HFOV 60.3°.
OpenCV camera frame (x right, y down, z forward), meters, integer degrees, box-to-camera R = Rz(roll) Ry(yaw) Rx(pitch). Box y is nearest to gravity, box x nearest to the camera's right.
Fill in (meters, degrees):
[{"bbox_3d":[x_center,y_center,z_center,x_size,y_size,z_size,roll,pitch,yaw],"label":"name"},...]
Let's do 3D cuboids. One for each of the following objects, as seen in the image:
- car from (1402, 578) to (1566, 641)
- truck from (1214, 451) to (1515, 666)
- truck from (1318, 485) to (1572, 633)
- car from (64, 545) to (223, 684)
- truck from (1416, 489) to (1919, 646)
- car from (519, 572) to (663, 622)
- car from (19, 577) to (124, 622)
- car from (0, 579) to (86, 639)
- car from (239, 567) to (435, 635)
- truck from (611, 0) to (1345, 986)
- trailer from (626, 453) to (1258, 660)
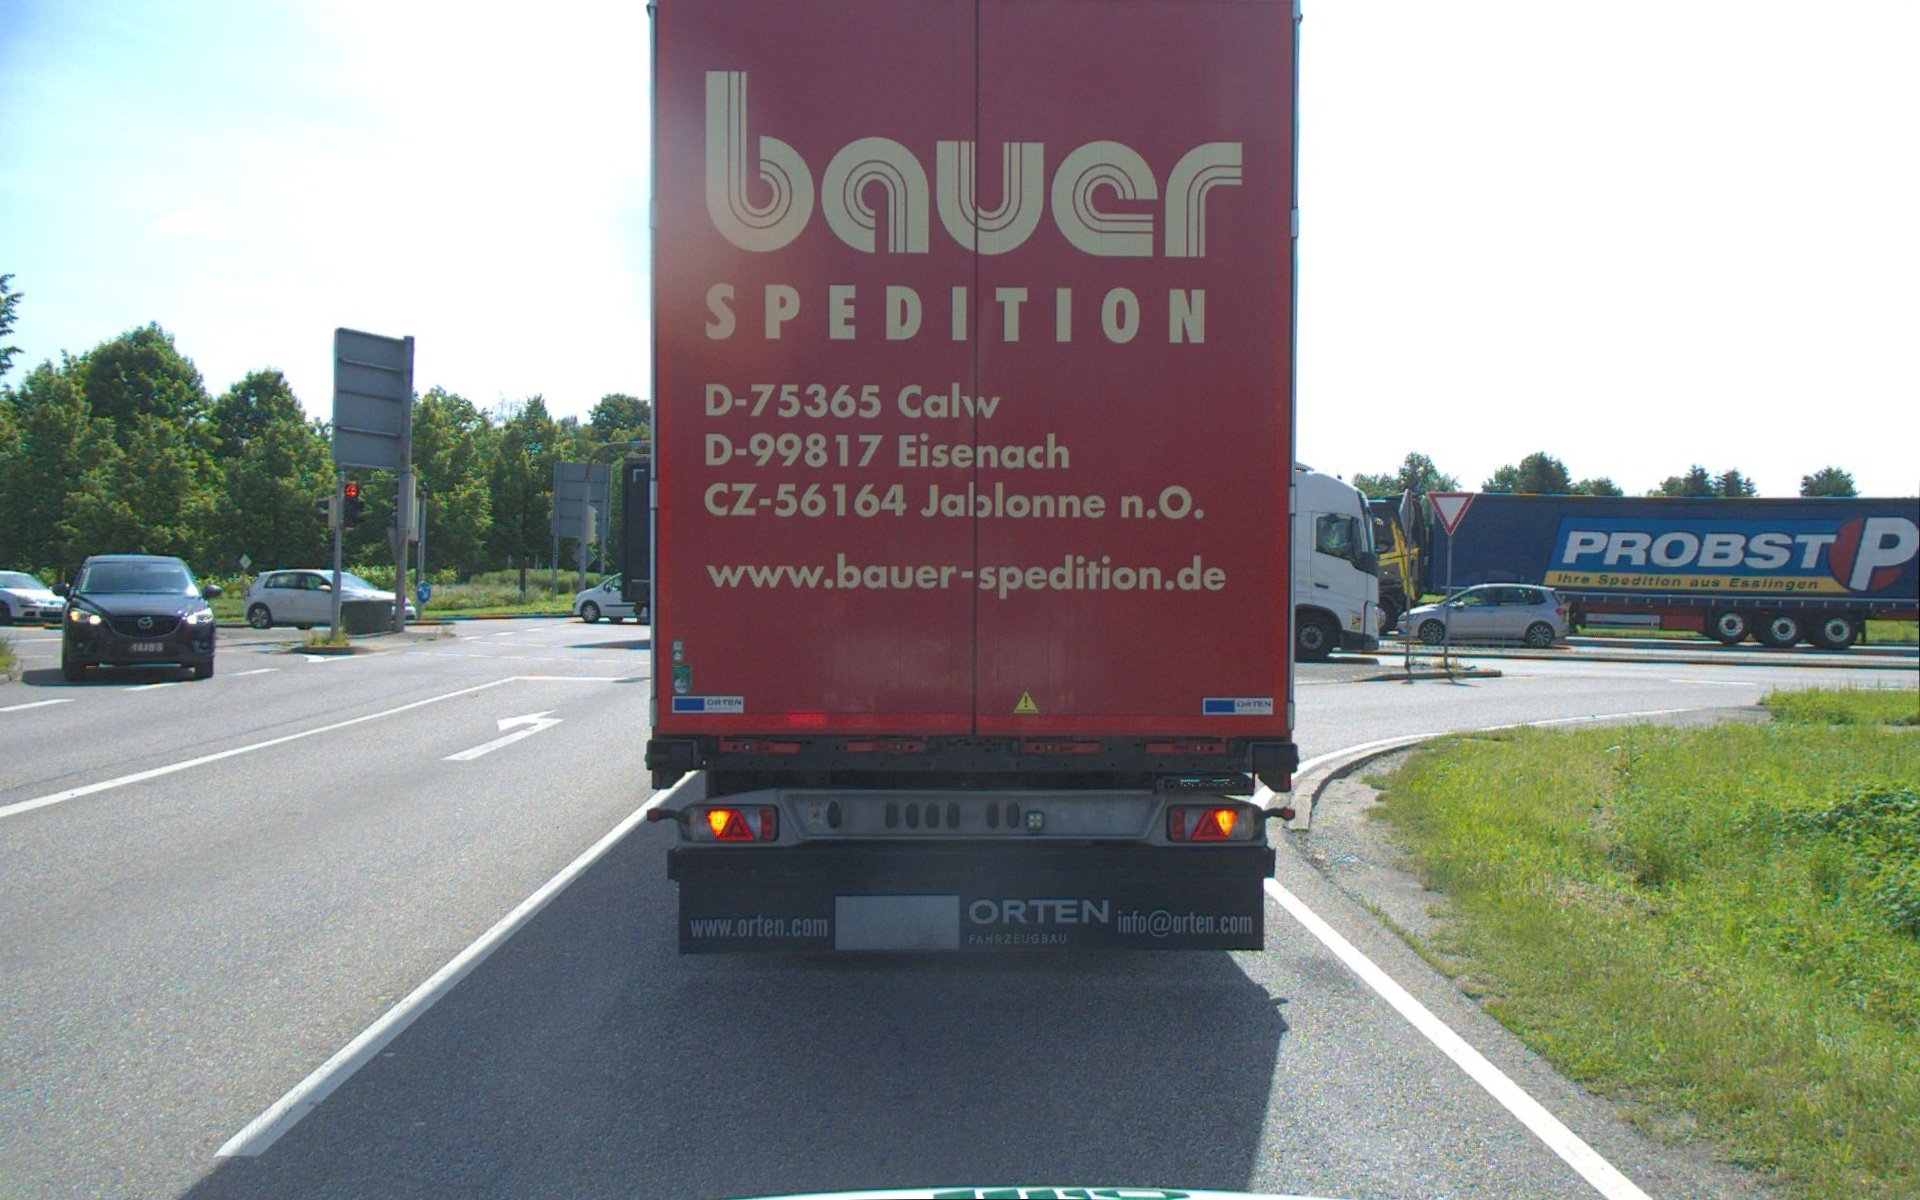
[{"bbox_3d":[13.446,0.227,42.648,3.910,1.517,1.539,1,0,14],"label":"car"},{"bbox_3d":[8.145,-0.876,33.921,5.701,4.132,2.801,1,1,9],"label":"truck"},{"bbox_3d":[14.022,-1.220,47.953,6.785,4.063,3.029,1,1,18],"label":"truck"},{"bbox_3d":[-11.515,0.163,23.405,1.844,1.780,4.076,0,1,-26],"label":"car"},{"bbox_3d":[20.018,-0.975,46.040,13.981,4.049,3.029,1,1,17],"label":"truck"},{"bbox_3d":[-10.846,-0.083,48.669,3.767,1.381,1.677,1,0,17],"label":"car"},{"bbox_3d":[-32.366,-0.017,60.197,4.032,1.574,1.866,0,1,37],"label":"car"},{"bbox_3d":[-25.046,0.203,43.433,3.957,1.441,1.793,2,1,27],"label":"car"},{"bbox_3d":[-14.928,-0.006,39.682,4.157,1.486,1.811,1,1,17],"label":"car"},{"bbox_3d":[-0.082,-0.671,14.426,2.679,3.993,16.622,1,1,-1],"label":"truck"},{"bbox_3d":[-0.388,-1.022,35.971,13.392,4.132,2.801,1,1,12],"label":"trailer"}]
